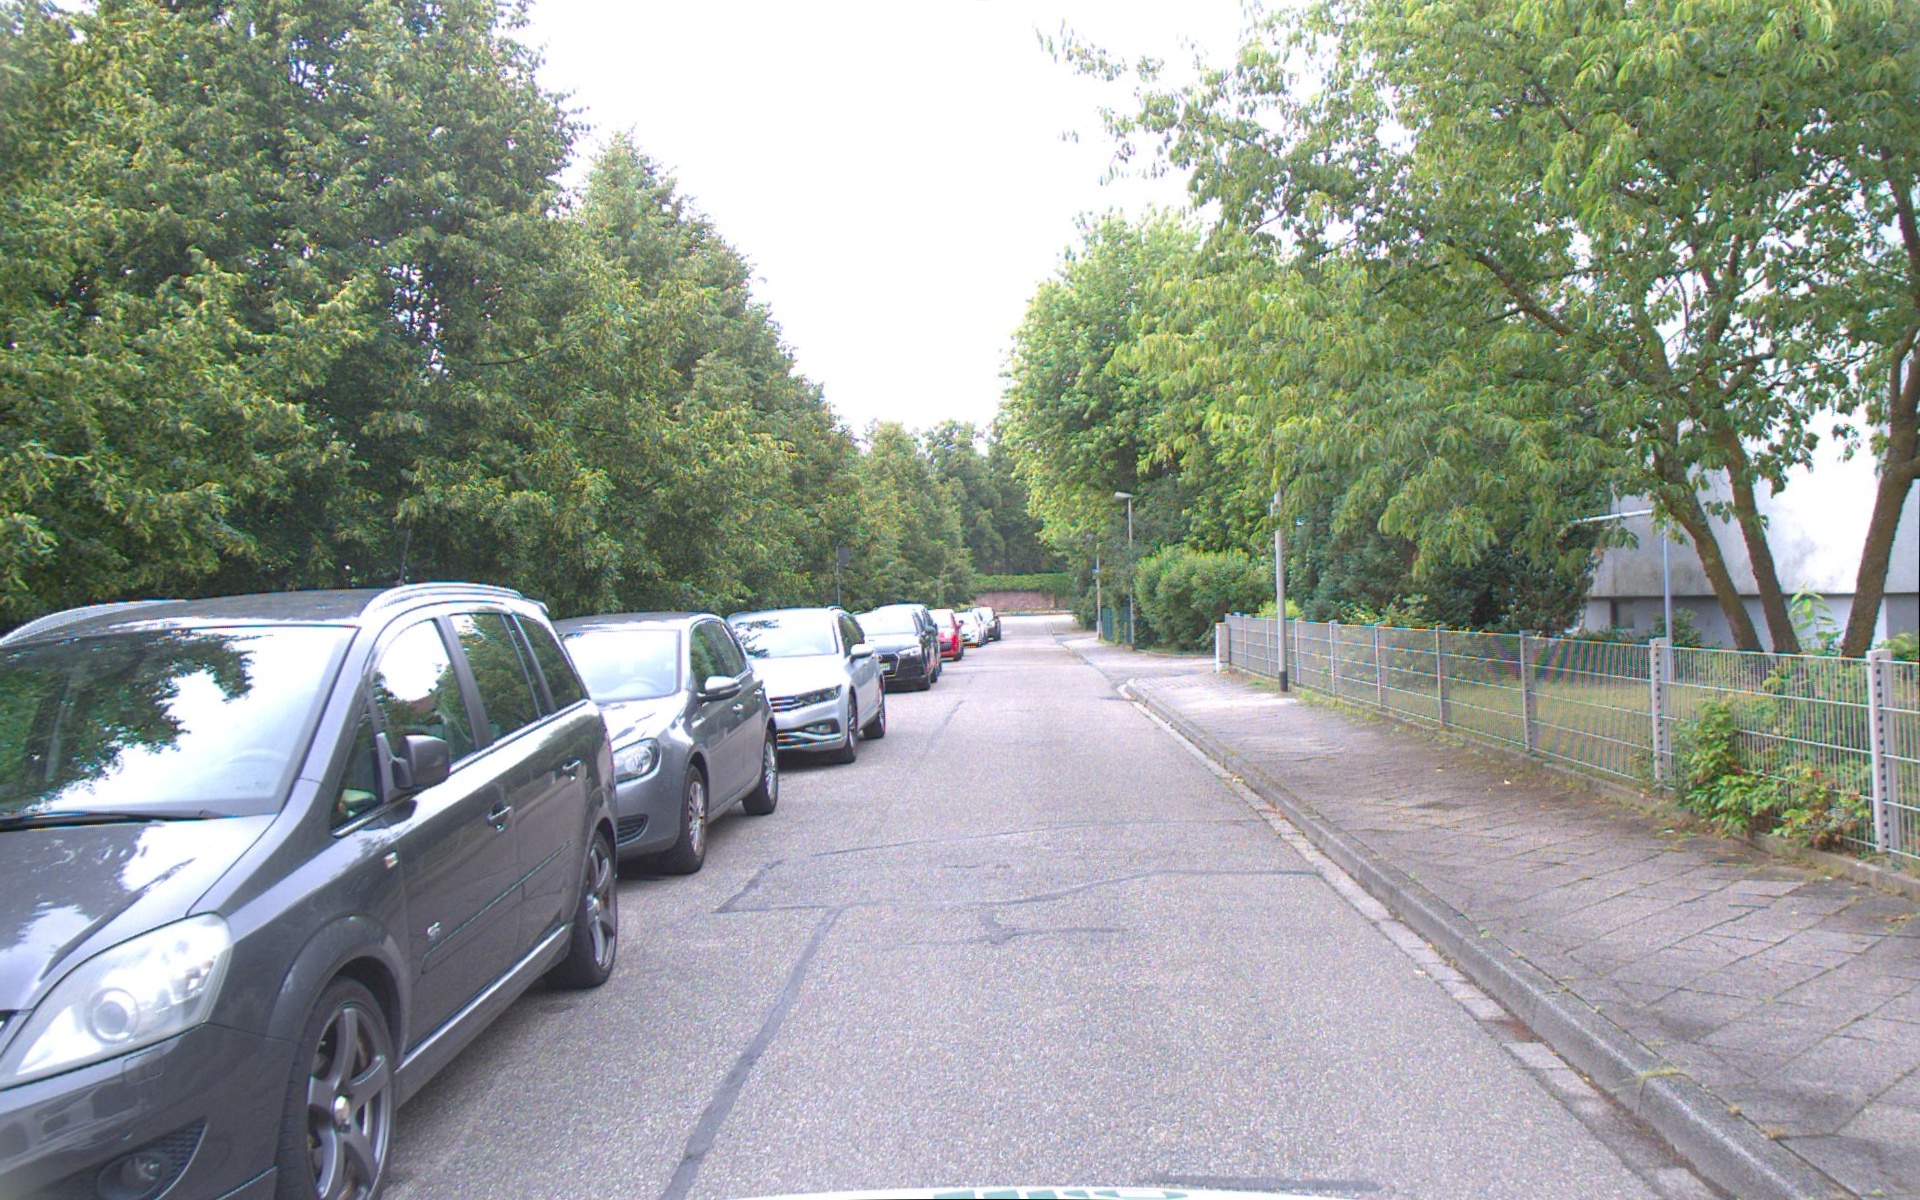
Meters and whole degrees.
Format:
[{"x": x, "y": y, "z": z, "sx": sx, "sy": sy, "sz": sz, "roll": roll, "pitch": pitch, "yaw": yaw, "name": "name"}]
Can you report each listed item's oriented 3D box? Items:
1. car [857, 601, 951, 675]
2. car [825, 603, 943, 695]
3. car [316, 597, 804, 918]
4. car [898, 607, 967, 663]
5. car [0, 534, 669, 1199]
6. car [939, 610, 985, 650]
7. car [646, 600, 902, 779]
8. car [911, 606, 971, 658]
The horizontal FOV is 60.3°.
[{"x": -1.208, "y": 0.802, "z": 37.124, "sx": 1.715, "sy": 1.450, "sz": 4.001, "roll": -4, "pitch": 0, "yaw": 3, "name": "car"}, {"x": -1.316, "y": 0.843, "z": 30.186, "sx": 1.715, "sy": 1.450, "sz": 4.001, "roll": -4, "pitch": 0, "yaw": 3, "name": "car"}, {"x": -2.241, "y": 0.801, "z": 10.543, "sx": 1.721, "sy": 1.504, "sz": 4.308, "roll": -4, "pitch": 0, "yaw": 4, "name": "car"}, {"x": -0.767, "y": 0.985, "z": 48.804, "sx": 1.715, "sy": 1.450, "sz": 4.001, "roll": -4, "pitch": 0, "yaw": 3, "name": "car"}, {"x": -2.258, "y": 0.753, "z": 5.128, "sx": 1.721, "sy": 1.621, "sz": 4.553, "roll": -4, "pitch": 0, "yaw": 1, "name": "car"}, {"x": 0.104, "y": 1.262, "z": 71.095, "sx": 1.715, "sy": 1.546, "sz": 4.001, "roll": -4, "pitch": 0, "yaw": 3, "name": "car"}, {"x": -1.724, "y": 0.796, "z": 16.840, "sx": 1.739, "sy": 1.453, "sz": 4.480, "roll": -4, "pitch": 0, "yaw": 4, "name": "car"}, {"x": -0.606, "y": 1.056, "z": 55.459, "sx": 1.715, "sy": 1.545, "sz": 4.001, "roll": -4, "pitch": 0, "yaw": 3, "name": "car"}]
